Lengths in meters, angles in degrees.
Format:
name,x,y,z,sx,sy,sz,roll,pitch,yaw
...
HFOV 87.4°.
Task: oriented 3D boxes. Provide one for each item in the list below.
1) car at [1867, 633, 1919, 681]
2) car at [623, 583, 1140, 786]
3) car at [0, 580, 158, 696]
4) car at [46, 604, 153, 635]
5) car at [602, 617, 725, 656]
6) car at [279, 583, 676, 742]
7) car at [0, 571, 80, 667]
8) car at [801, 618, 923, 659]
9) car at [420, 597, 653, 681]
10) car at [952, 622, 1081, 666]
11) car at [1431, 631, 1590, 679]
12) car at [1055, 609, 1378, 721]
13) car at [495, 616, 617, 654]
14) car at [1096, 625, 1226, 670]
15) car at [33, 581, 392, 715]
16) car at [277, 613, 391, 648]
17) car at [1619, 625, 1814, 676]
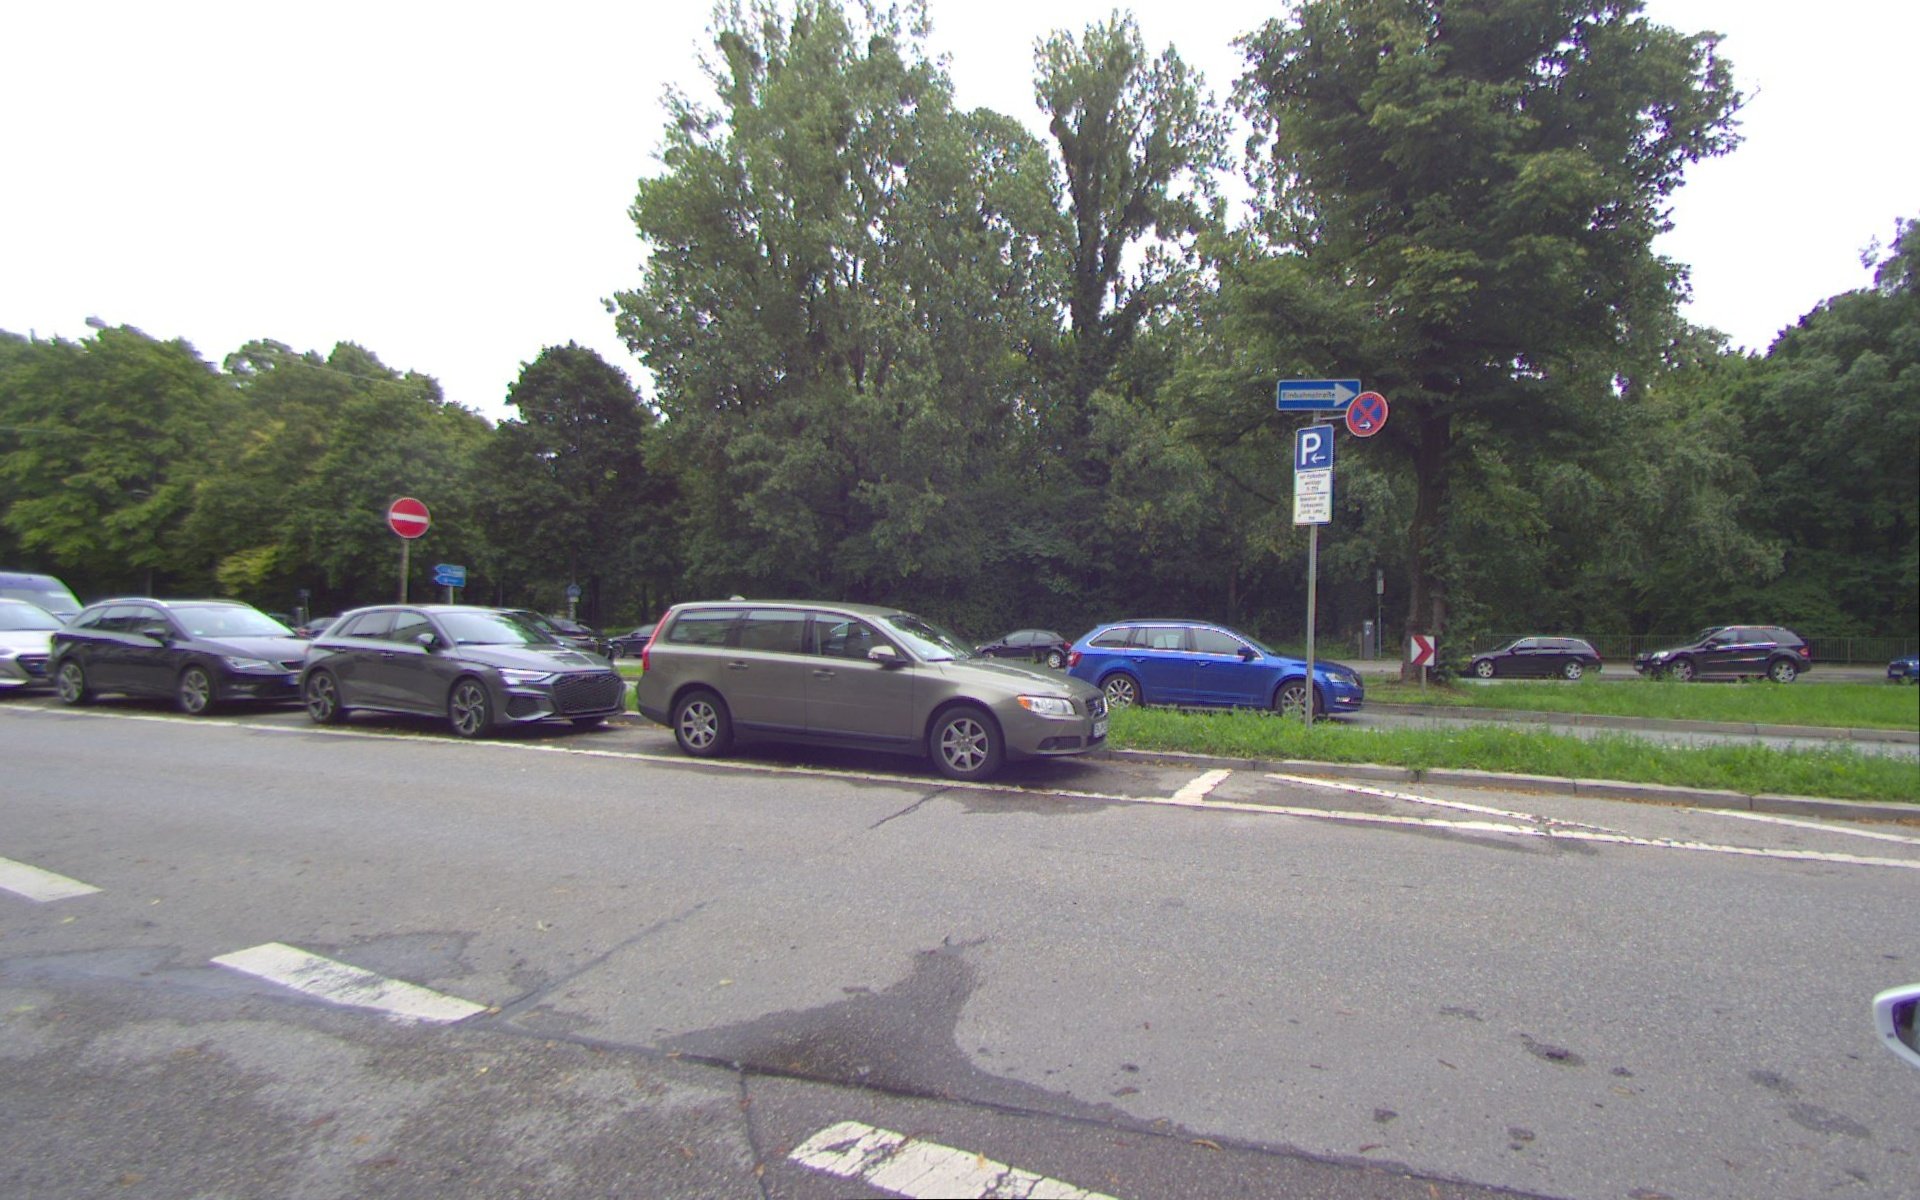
name,x,y,z,sx,sy,sz,roll,pitch,yaw
car,31.700,1.818,31.588,4.334,1.465,2.002,1,-2,8
car,-0.789,0.675,9.803,4.679,1.586,1.904,1,-1,24
car,-14.766,0.504,15.288,4.197,1.586,1.994,1,-1,18
car,-43.595,0.992,50.922,4.231,1.465,2.001,1,-2,14
car,-12.119,1.486,41.139,4.434,1.465,2.001,1,-2,15
car,-5.718,0.636,11.929,4.201,1.586,1.992,1,-1,24
car,-27.297,0.411,27.643,5.737,2.496,2.190,2,0,22
car,-3.776,1.489,39.010,4.231,1.465,2.001,1,-2,14
car,-9.232,0.793,21.871,4.737,1.607,1.918,1,-1,24
car,2.105,1.606,37.219,4.434,1.465,2.001,1,-2,15
car,18.439,1.824,33.827,4.230,1.465,2.002,1,-2,8
car,4.022,0.926,15.794,4.644,1.473,1.992,1,-1,24
car,-17.042,1.455,42.467,4.434,1.465,2.001,1,-2,15
car,7.242,1.678,36.019,4.434,1.465,2.001,1,-2,15
car,-10.260,0.585,13.835,4.199,1.586,1.993,1,-1,21
car,-28.530,1.371,45.838,4.231,1.465,2.001,1,-2,14
car,24.416,1.622,32.603,4.671,1.465,2.002,1,-2,8
